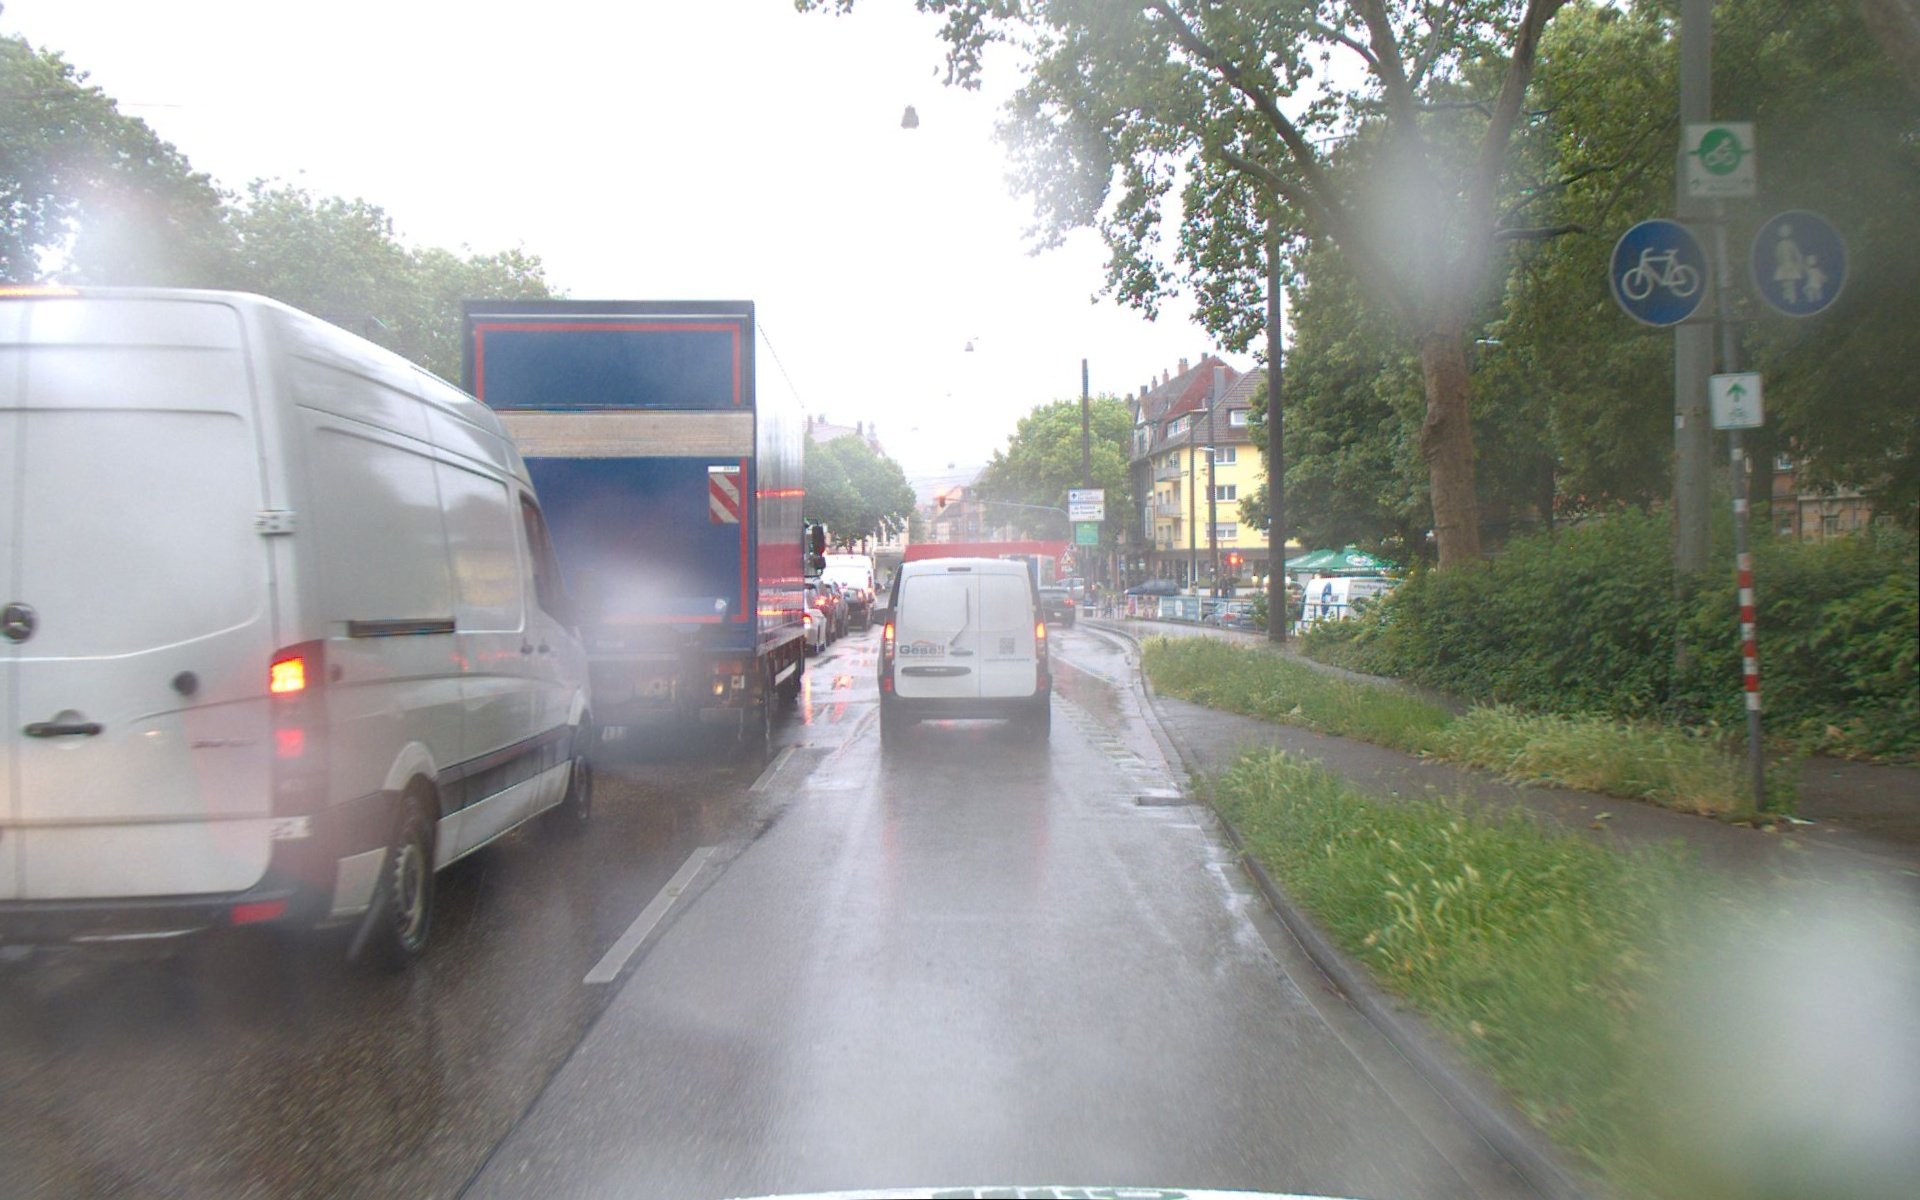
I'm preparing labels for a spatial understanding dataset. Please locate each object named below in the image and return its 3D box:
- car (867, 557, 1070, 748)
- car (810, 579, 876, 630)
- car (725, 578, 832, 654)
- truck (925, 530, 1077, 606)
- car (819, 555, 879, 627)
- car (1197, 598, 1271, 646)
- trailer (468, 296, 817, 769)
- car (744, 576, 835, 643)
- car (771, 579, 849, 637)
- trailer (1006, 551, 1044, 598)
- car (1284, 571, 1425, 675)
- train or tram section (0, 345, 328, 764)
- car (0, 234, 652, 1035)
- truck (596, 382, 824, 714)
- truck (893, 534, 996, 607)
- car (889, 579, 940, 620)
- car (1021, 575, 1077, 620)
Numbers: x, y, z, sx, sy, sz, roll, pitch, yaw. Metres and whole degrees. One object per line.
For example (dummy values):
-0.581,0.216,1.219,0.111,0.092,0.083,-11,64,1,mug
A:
0.047,0.509,17.485,1.919,1.808,3.568,0,-1,-1,car
-3.848,0.149,54.872,1.953,1.606,4.291,1,0,-1,car
-3.913,0.299,36.329,1.953,1.498,4.266,1,1,-1,car
2.742,-2.160,115.387,11.204,4.984,3.268,-1,2,44,truck
-4.013,-0.323,60.388,1.953,2.485,4.611,1,0,-1,car
9.926,0.760,60.237,1.786,1.516,4.351,-2,1,-2,car
-2.997,-0.604,17.745,2.538,3.968,7.633,0,1,-2,trailer
-4.294,0.229,42.281,1.953,1.606,4.291,1,0,-1,car
-4.319,0.220,48.255,1.953,1.606,4.291,1,0,-1,car
3.377,-1.301,86.030,1.952,2.357,4.669,0,-1,2,trailer
10.791,0.545,45.745,2.136,2.576,5.774,-2,1,-4,car
-9.201,-0.389,16.236,2.902,3.342,8.358,-2,1,-2,train or tram section
-3.240,0.133,8.428,2.282,2.602,6.113,0,-1,-1,car
-3.159,-0.646,21.831,2.529,3.972,3.999,0,0,-2,truck
-1.130,-2.111,119.187,7.057,4.984,3.268,-1,2,44,truck
-1.694,-0.018,62.273,1.724,1.494,3.534,0,0,1,car
3.212,-0.098,59.806,1.952,1.569,4.002,-1,0,3,car
